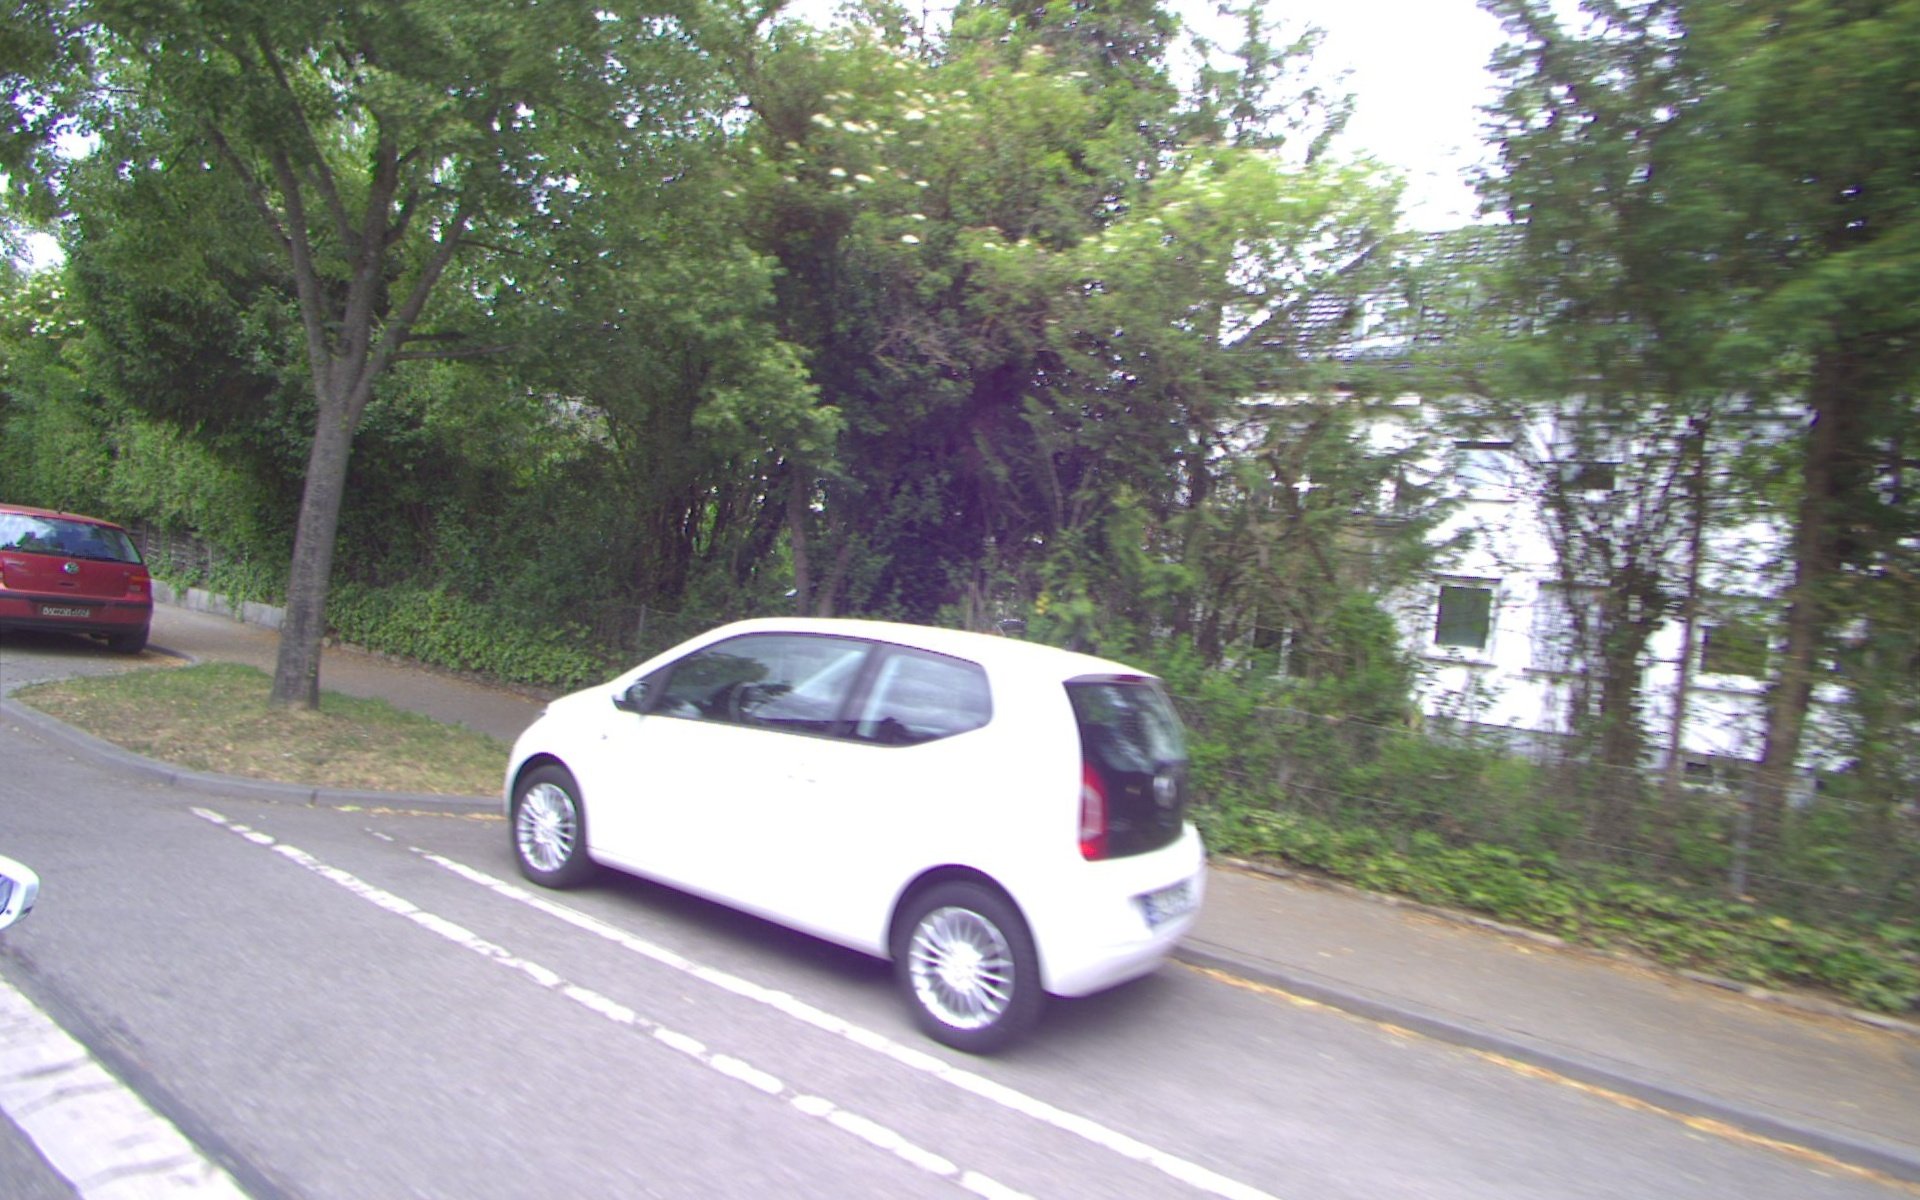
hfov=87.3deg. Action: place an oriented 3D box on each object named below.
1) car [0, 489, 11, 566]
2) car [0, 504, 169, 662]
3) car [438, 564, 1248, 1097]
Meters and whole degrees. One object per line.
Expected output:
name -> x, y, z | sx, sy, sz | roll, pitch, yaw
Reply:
car -> -15.122, -0.959, 13.903 | 4.098, 1.634, 1.642 | 7, -2, 29
car -> -10.569, -0.322, 11.093 | 3.935, 1.437, 1.640 | 7, -1, 33
car -> -0.675, 0.801, 4.952 | 3.596, 1.477, 1.619 | 7, -1, 32
